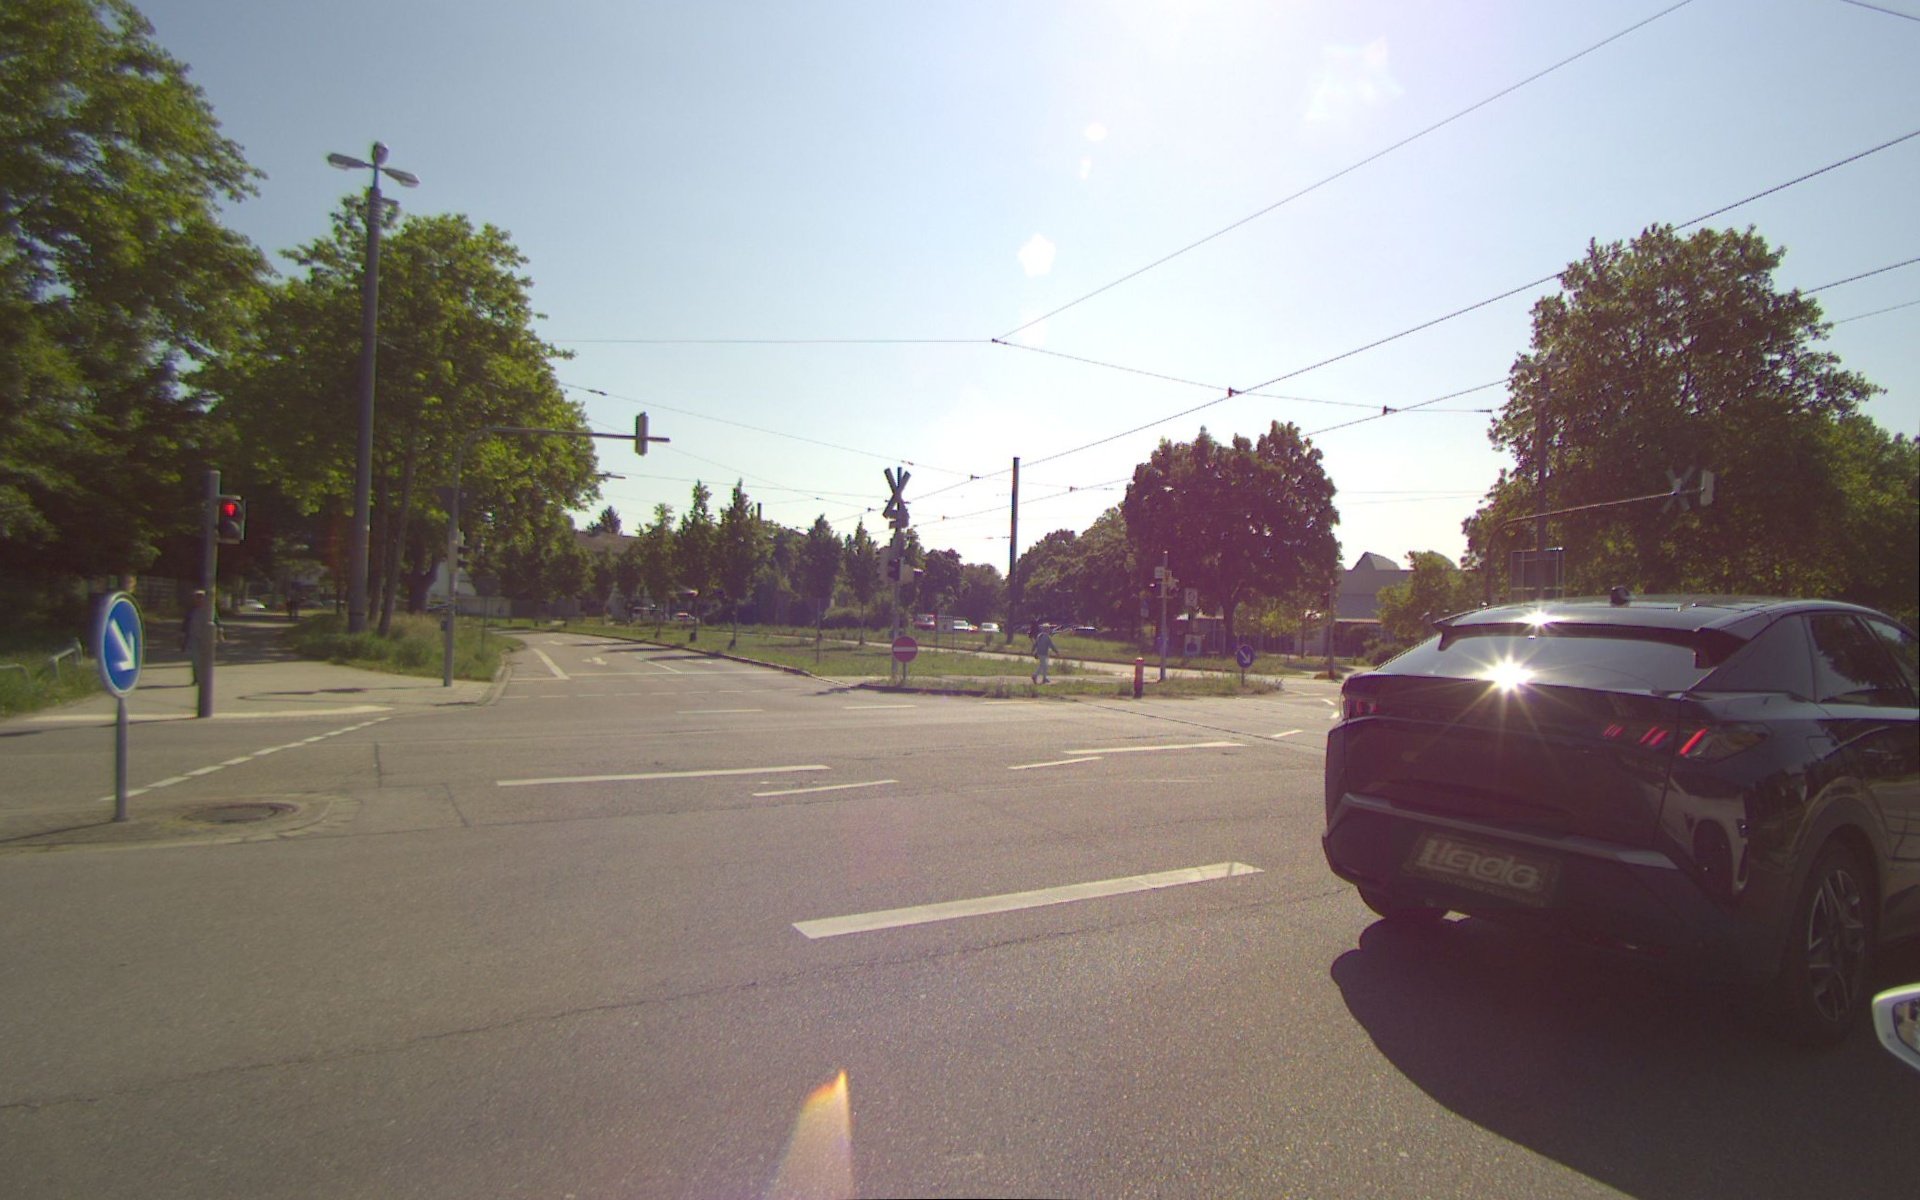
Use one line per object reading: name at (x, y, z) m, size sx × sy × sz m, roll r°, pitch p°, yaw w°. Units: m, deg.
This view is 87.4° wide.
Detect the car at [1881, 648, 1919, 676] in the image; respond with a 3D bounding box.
car at (56.506, 3.690, 59.879) m, size 4.394 × 1.610 × 1.696 m, roll 2°, pitch -3°, yaw -38°

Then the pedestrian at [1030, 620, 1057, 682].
pedestrian at (2.184, 1.318, 26.251) m, size 0.655 × 1.581 × 0.366 m, roll 1°, pitch -1°, yaw 7°

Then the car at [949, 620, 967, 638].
car at (-0.186, 2.440, 84.449) m, size 1.323 × 1.465 × 3.340 m, roll 2°, pitch -1°, yaw -3°

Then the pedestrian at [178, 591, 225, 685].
pedestrian at (-12.799, 0.633, 16.964) m, size 0.563 × 1.554 × 0.601 m, roll 2°, pitch -1°, yaw -35°

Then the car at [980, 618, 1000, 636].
car at (2.498, 2.281, 84.769) m, size 1.420 × 1.465 × 3.340 m, roll 2°, pitch -1°, yaw -3°

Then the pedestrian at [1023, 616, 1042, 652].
pedestrian at (4.121, 1.933, 57.367) m, size 0.783 × 2.040 × 0.709 m, roll 0°, pitch -1°, yaw 39°

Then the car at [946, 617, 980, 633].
car at (0.351, 3.031, 123.047) m, size 3.856 × 1.863 × 1.768 m, roll 2°, pitch -1°, yaw -8°

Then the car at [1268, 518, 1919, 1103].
car at (3.748, 0.750, 4.936) m, size 4.387 × 1.718 × 1.862 m, roll 3°, pitch -3°, yaw -32°

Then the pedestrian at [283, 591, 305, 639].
pedestrian at (-29.740, 0.665, 44.849) m, size 0.748 × 2.118 × 0.612 m, roll 2°, pitch -1°, yaw -36°

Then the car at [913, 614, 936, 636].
car at (-3.022, 2.084, 84.854) m, size 1.780 × 1.725 × 3.986 m, roll 2°, pitch -1°, yaw -3°

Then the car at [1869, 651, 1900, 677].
car at (96.431, 6.642, 104.840) m, size 2.037 × 2.647 × 7.183 m, roll -1°, pitch -3°, yaw 41°

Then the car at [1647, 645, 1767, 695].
car at (24.866, 2.300, 33.407) m, size 4.611 × 1.528 × 1.684 m, roll 2°, pitch -1°, yaw -33°
